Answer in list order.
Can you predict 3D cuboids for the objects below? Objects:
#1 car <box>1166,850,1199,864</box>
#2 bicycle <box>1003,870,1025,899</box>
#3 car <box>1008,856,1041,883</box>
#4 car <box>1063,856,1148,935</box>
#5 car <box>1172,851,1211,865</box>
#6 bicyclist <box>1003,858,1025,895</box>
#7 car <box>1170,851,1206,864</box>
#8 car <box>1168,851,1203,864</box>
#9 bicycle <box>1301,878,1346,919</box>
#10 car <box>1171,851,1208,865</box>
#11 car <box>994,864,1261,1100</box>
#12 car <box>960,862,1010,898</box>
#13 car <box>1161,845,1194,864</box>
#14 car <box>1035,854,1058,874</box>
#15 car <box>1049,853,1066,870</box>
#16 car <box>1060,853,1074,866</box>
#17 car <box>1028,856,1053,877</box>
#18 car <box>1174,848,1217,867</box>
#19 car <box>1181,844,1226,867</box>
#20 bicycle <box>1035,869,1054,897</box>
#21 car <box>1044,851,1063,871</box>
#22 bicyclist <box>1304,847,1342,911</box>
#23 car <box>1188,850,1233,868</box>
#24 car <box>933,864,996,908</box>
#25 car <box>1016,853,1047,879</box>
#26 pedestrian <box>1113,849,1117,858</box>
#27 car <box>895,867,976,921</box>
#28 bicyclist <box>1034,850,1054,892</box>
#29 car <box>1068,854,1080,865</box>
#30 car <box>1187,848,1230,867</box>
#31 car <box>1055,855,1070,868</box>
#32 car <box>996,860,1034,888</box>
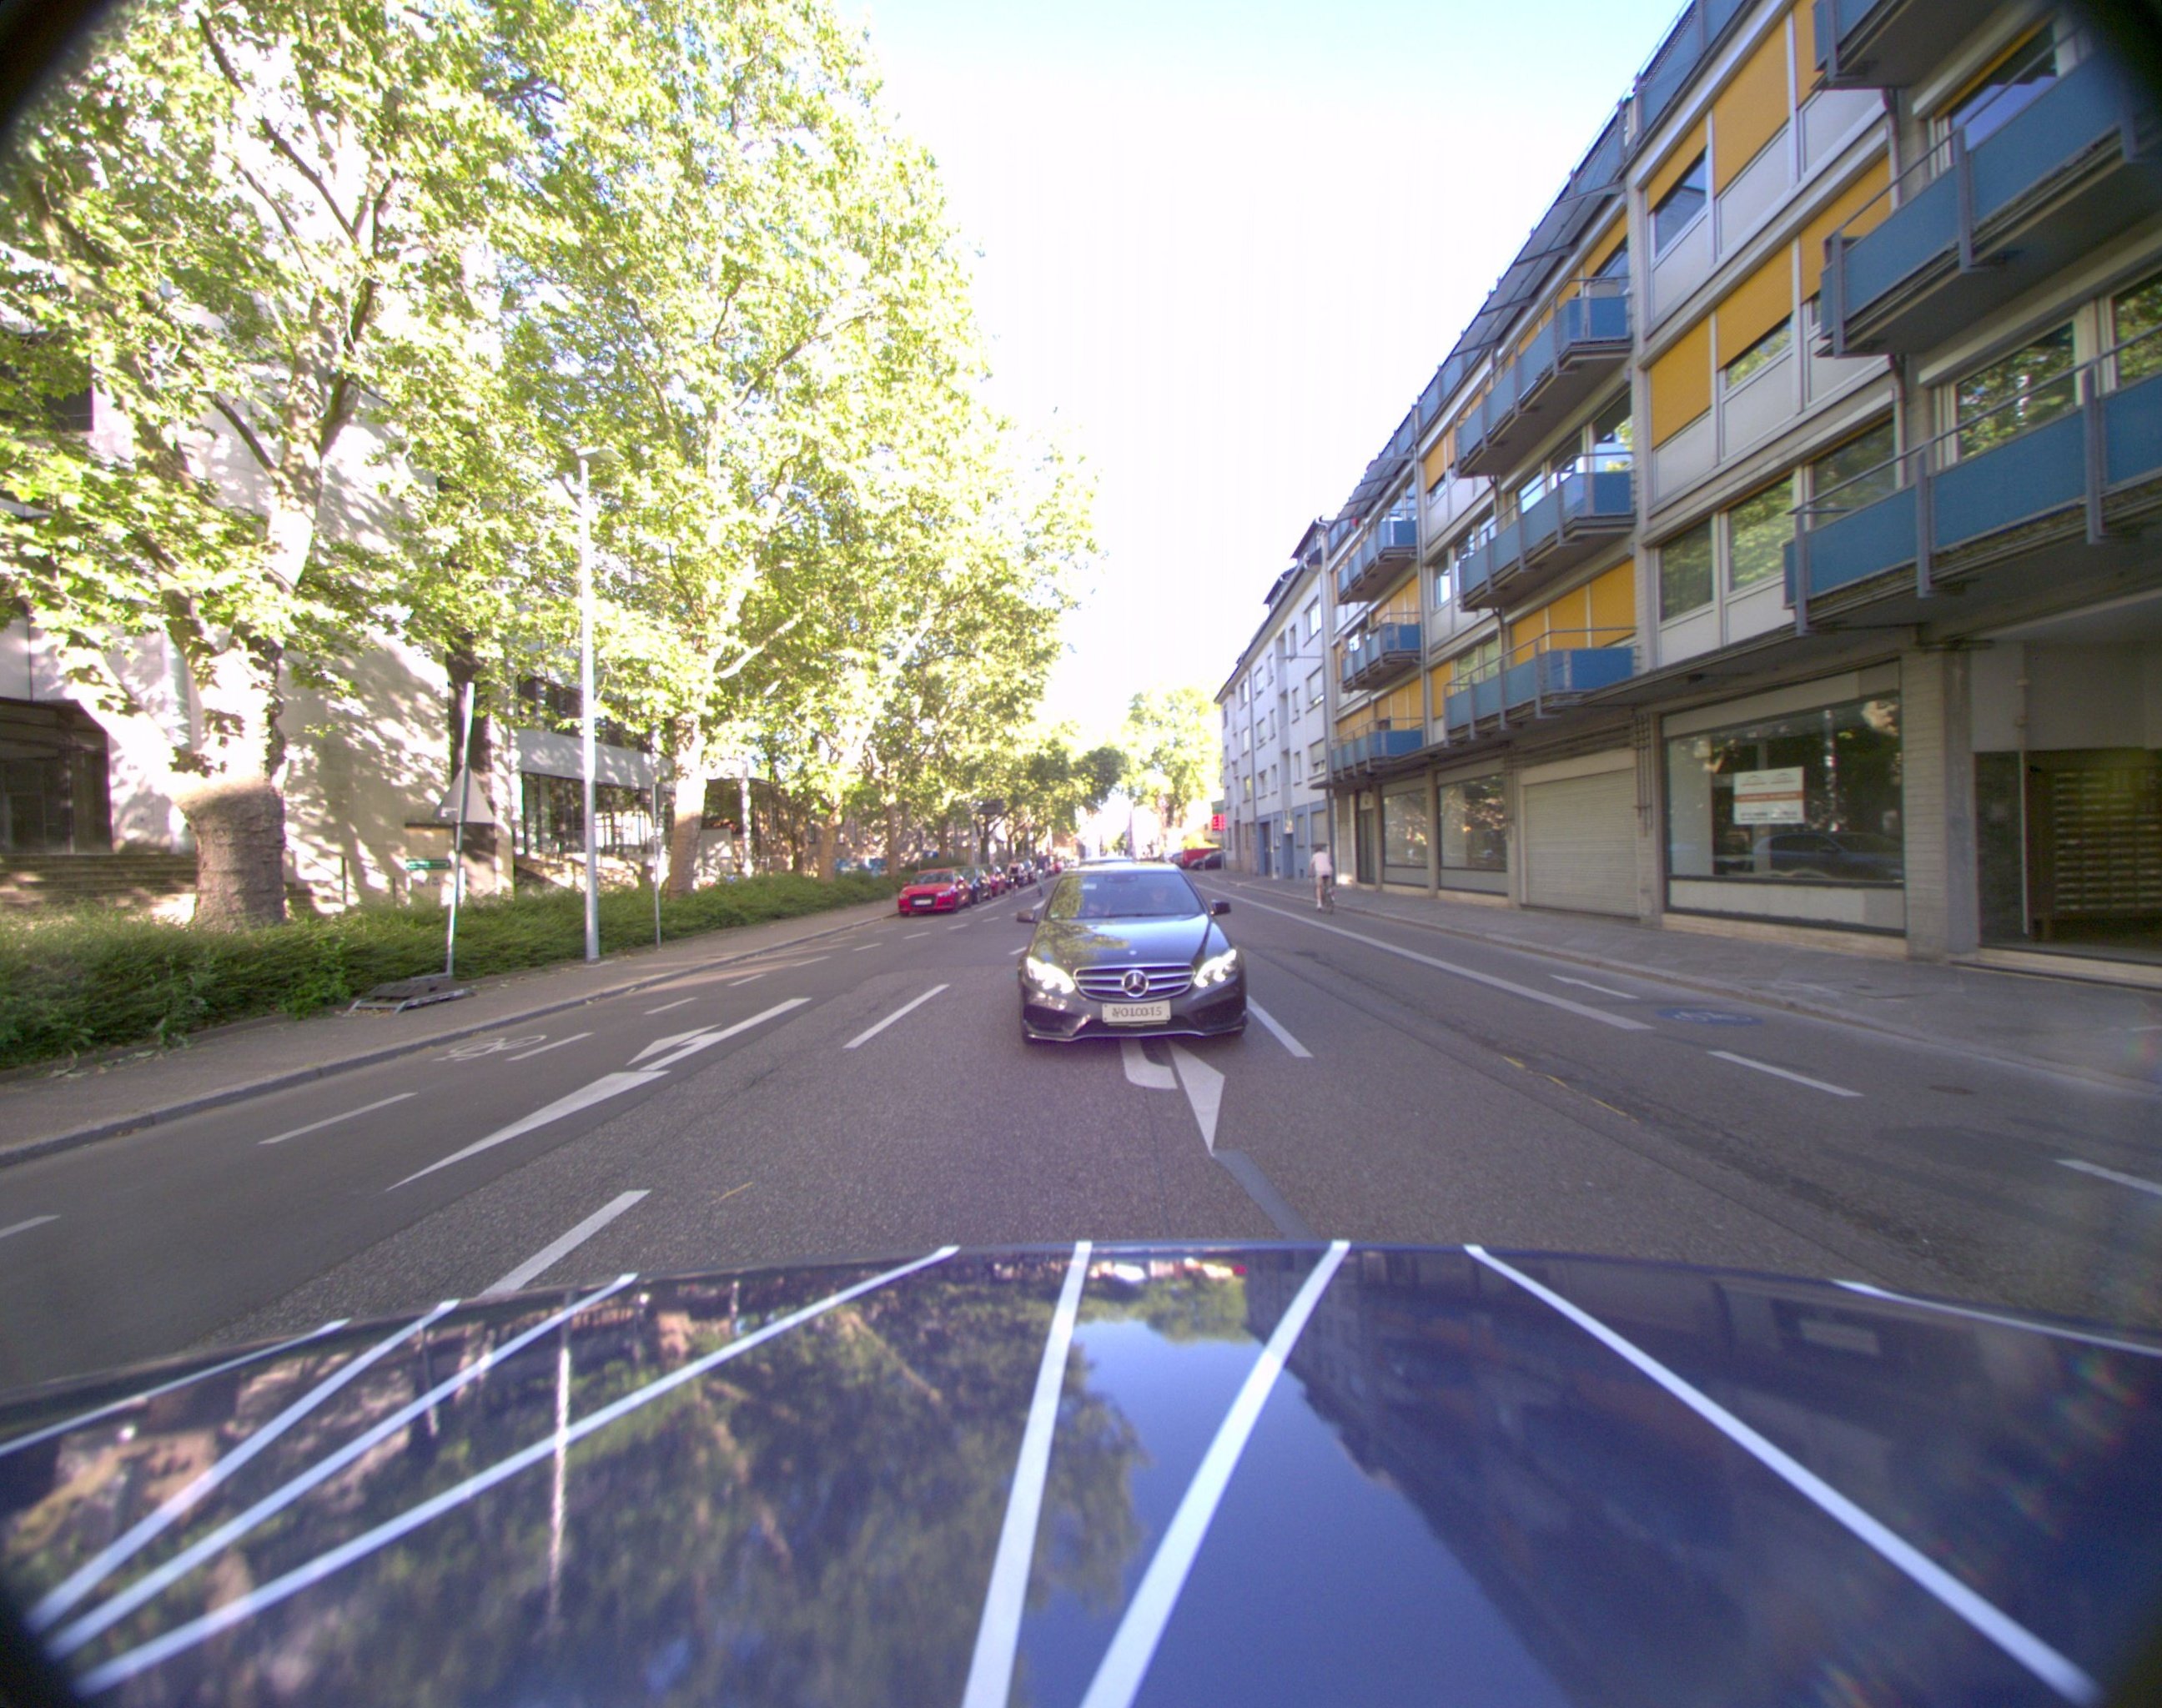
[{"bbox_3d":[12.244,0.331,91.718,3.782,1.432,1.539,-3,1,3],"label":"car"},{"bbox_3d":[-2.824,1.276,32.221,0.667,1.093,1.814,-3,1,1],"label":"bicycle"},{"bbox_3d":[-3.617,0.985,49.249,1.686,1.610,3.837,-2,0,1],"label":"car"},{"bbox_3d":[0.554,0.888,18.204,1.732,1.538,4.294,-3,1,1],"label":"car"},{"bbox_3d":[11.895,0.440,81.872,3.905,1.366,1.595,-3,1,3],"label":"car"},{"bbox_3d":[-2.833,0.957,32.219,0.755,1.512,0.768,-3,1,0],"label":"bicyclist"},{"bbox_3d":[12.130,0.420,86.645,3.905,1.325,1.526,-3,1,3],"label":"car"},{"bbox_3d":[12.184,0.395,89.033,3.905,1.325,1.526,-3,1,3],"label":"car"},{"bbox_3d":[6.116,1.101,19.234,0.549,0.886,1.868,-3,1,2],"label":"bicycle"},{"bbox_3d":[11.963,0.418,83.893,3.905,1.366,1.595,-3,1,3],"label":"car"},{"bbox_3d":[0.359,0.939,7.533,1.828,1.495,4.294,-3,1,1],"label":"car"},{"bbox_3d":[-4.355,1.158,34.799,1.666,1.426,3.781,-2,0,1],"label":"car"},{"bbox_3d":[12.185,0.029,96.214,3.905,2.164,1.725,-3,1,3],"label":"car"},{"bbox_3d":[-2.977,0.847,66.548,1.663,1.704,3.837,-2,0,1],"label":"car"},{"bbox_3d":[-2.550,0.748,83.193,1.686,1.749,3.837,-2,0,1],"label":"car"},{"bbox_3d":[-1.879,0.730,102.854,1.686,1.546,3.837,-2,0,1],"label":"car"},{"bbox_3d":[-3.275,0.966,61.696,1.686,1.552,3.868,-2,0,1],"label":"car"},{"bbox_3d":[11.085,0.315,73.694,3.905,1.577,1.604,-3,1,3],"label":"car"},{"bbox_3d":[11.390,0.143,70.892,3.905,1.895,1.750,-2,0,3],"label":"car"},{"bbox_3d":[-1.533,1.207,32.265,0.667,1.093,1.814,-3,1,1],"label":"bicycle"},{"bbox_3d":[-2.812,0.697,77.405,1.645,1.839,3.837,-2,0,1],"label":"car"},{"bbox_3d":[6.105,0.620,19.174,0.650,1.549,0.807,-3,1,1],"label":"bicyclist"},{"bbox_3d":[11.181,0.430,65.645,3.598,1.401,1.535,-3,0,3],"label":"car"},{"bbox_3d":[-4.454,1.187,29.614,1.686,1.458,4.000,-3,0,1],"label":"car"},{"bbox_3d":[-3.561,0.857,55.376,1.819,1.758,4.431,-2,0,1],"label":"car"},{"bbox_3d":[8.608,-0.159,190.308,0.884,2.108,0.821,-3,1,2],"label":"pedestrian"},{"bbox_3d":[-4.661,1.243,24.858,1.724,1.412,4.031,-4,0,1],"label":"car"},{"bbox_3d":[-1.567,0.705,32.319,0.755,1.714,0.768,-3,1,0],"label":"bicyclist"},{"bbox_3d":[-1.010,0.789,113.984,1.686,1.475,3.837,-2,0,1],"label":"car"},{"bbox_3d":[11.394,0.331,68.047,3.667,1.501,1.602,-3,1,3],"label":"car"},{"bbox_3d":[-2.299,0.870,94.237,1.639,1.493,3.753,-2,0,1],"label":"car"},{"bbox_3d":[-3.830,1.120,44.592,1.686,1.442,4.000,-2,0,1],"label":"car"}]
